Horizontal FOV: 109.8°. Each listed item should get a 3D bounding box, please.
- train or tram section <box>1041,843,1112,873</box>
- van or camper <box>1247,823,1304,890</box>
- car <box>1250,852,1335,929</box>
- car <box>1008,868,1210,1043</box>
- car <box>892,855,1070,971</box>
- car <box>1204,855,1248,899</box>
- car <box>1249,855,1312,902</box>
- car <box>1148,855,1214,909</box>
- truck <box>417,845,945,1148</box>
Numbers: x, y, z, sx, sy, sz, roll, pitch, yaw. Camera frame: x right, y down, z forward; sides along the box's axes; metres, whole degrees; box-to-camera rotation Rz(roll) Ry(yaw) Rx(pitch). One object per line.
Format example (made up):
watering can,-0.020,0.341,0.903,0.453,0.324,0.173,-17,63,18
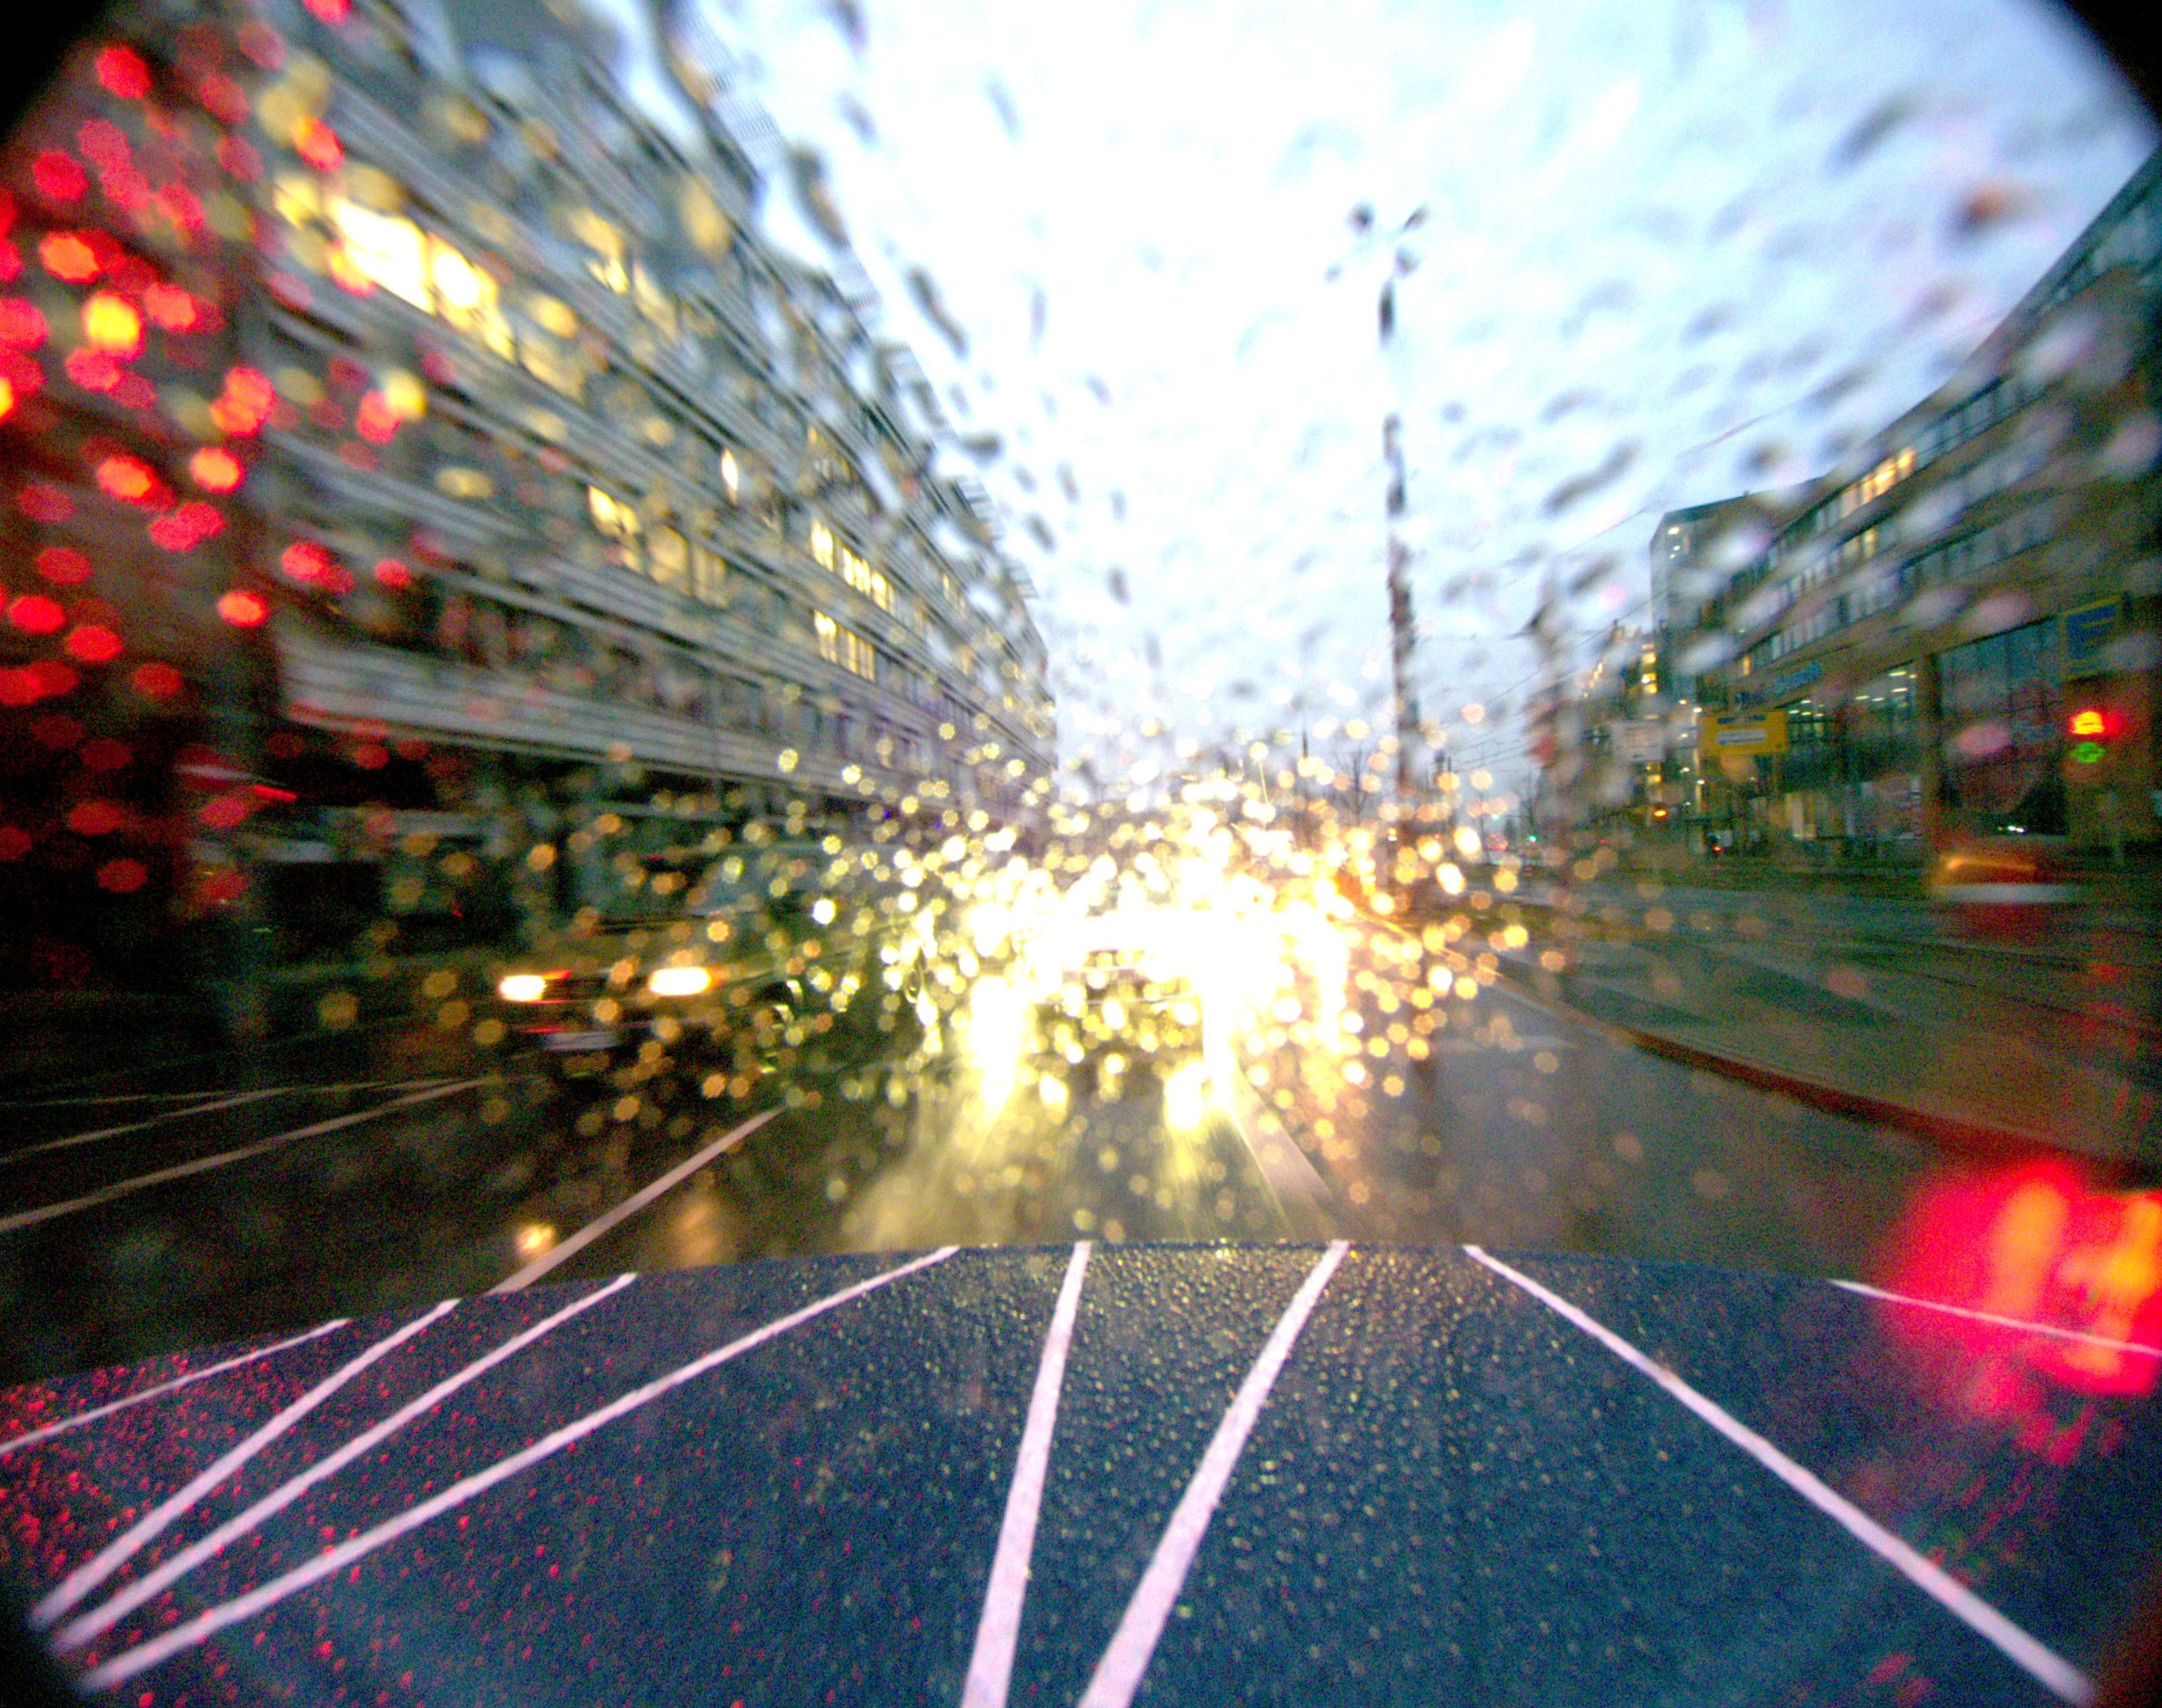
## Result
train or tram section,-0.996,0.851,149.212,13.354,4.831,3.745,-4,0,28
van or camper,8.452,0.081,33.367,2.059,2.533,5.890,-4,0,13
car,4.854,0.768,17.845,1.683,1.563,3.764,-3,0,12
car,0.500,0.986,9.112,1.773,1.449,4.224,-4,-1,7
car,-1.728,1.007,15.021,1.908,1.808,4.693,-4,-1,12
car,6.501,0.968,33.751,1.683,1.722,3.717,-4,-1,12
car,6.716,0.779,25.958,1.823,1.324,4.229,-4,-1,12
car,3.255,0.823,24.047,1.772,1.449,4.224,-3,0,11
truck,-3.082,0.960,7.246,1.908,1.905,4.620,-4,-1,10
